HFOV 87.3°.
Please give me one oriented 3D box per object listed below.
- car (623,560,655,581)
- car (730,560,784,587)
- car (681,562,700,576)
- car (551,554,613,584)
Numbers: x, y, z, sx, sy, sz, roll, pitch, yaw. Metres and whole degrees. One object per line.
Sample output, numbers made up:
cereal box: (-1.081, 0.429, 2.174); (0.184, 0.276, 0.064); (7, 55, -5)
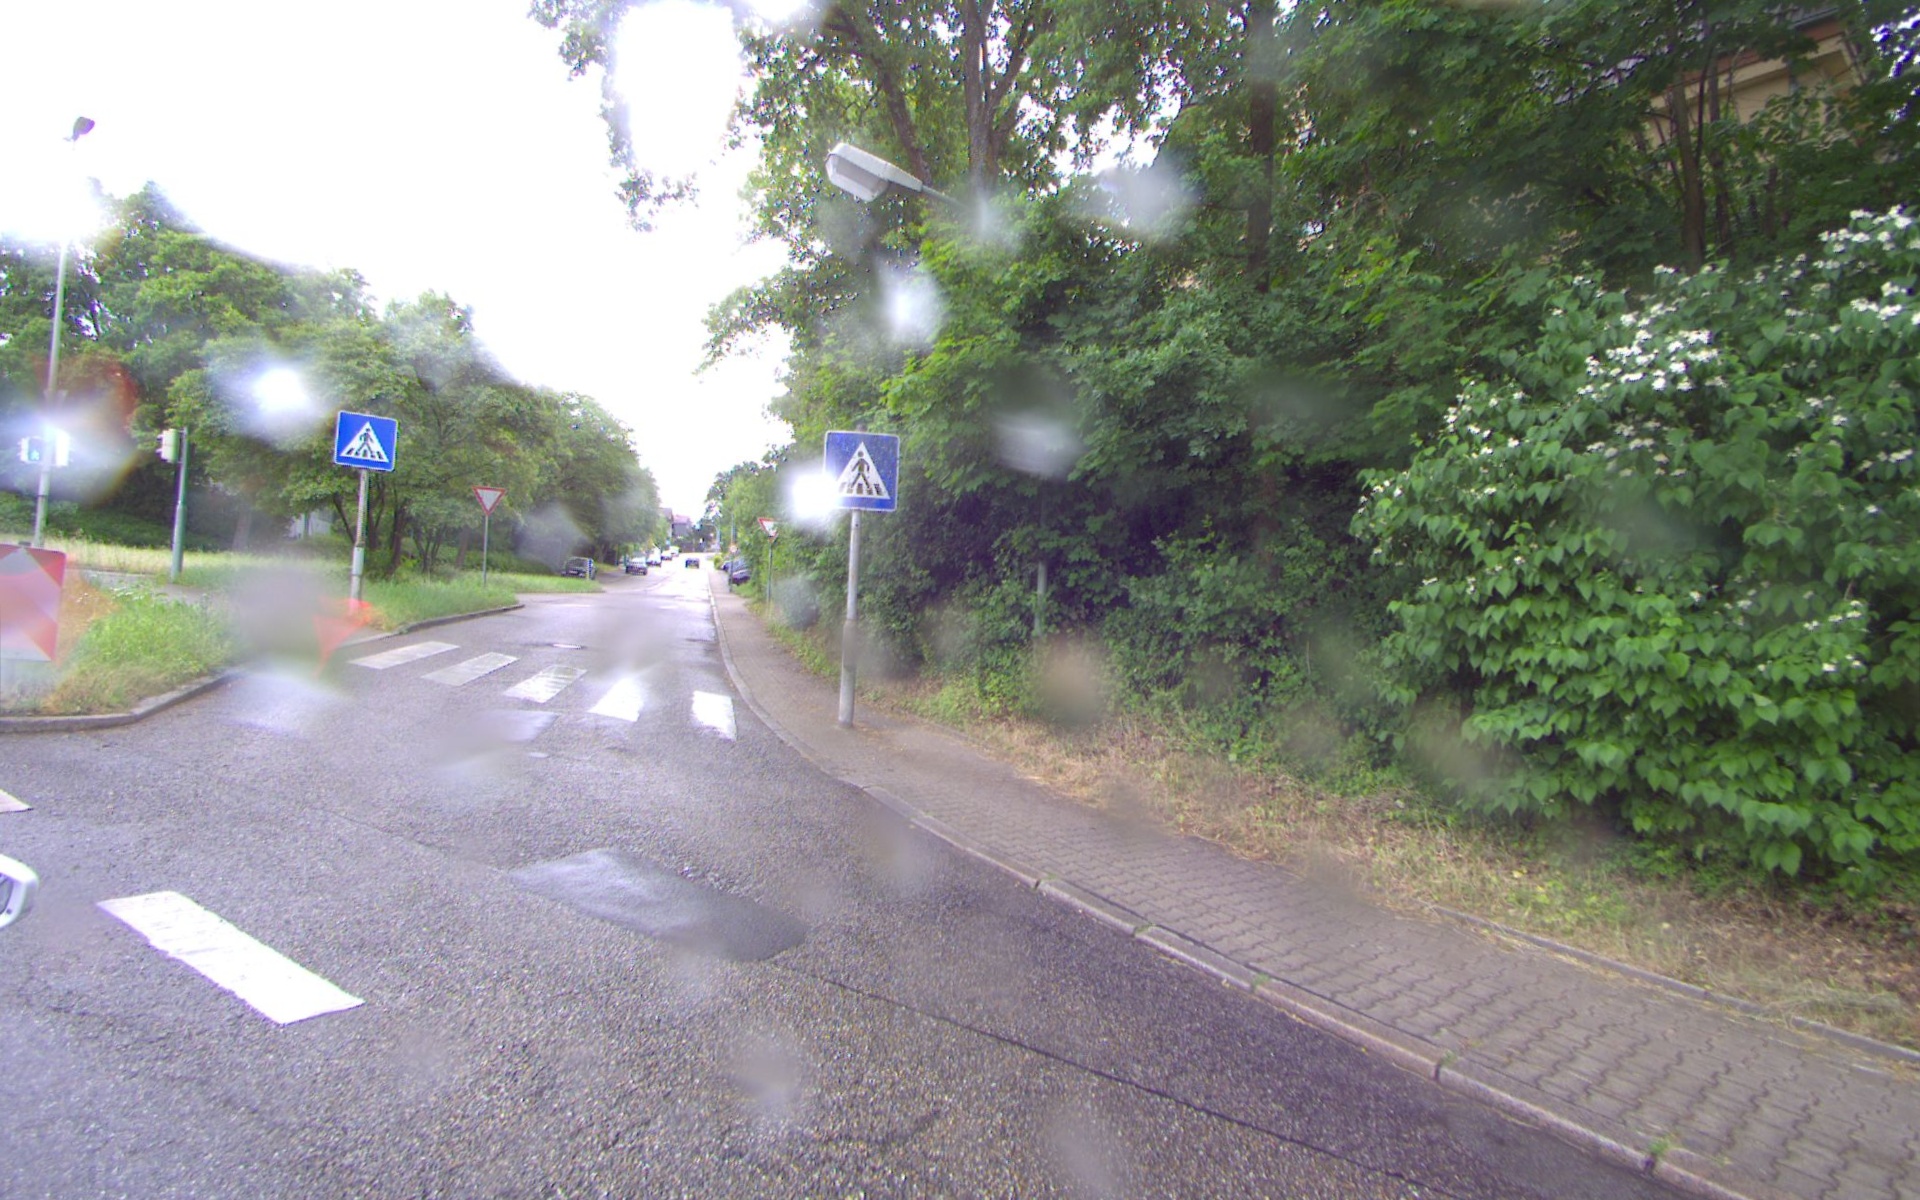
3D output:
car: (-29.915, -2.721, 93.755); (1.672, 1.462, 4.002); (7, -2, -2)
car: (-16.050, -2.069, 79.610); (3.937, 1.668, 1.951); (7, 0, -15)
car: (-34.988, -3.999, 130.509); (1.918, 1.474, 4.200); (8, -2, -19)
car: (-25.246, -2.037, 67.305); (1.793, 1.590, 4.001); (7, 0, 15)
